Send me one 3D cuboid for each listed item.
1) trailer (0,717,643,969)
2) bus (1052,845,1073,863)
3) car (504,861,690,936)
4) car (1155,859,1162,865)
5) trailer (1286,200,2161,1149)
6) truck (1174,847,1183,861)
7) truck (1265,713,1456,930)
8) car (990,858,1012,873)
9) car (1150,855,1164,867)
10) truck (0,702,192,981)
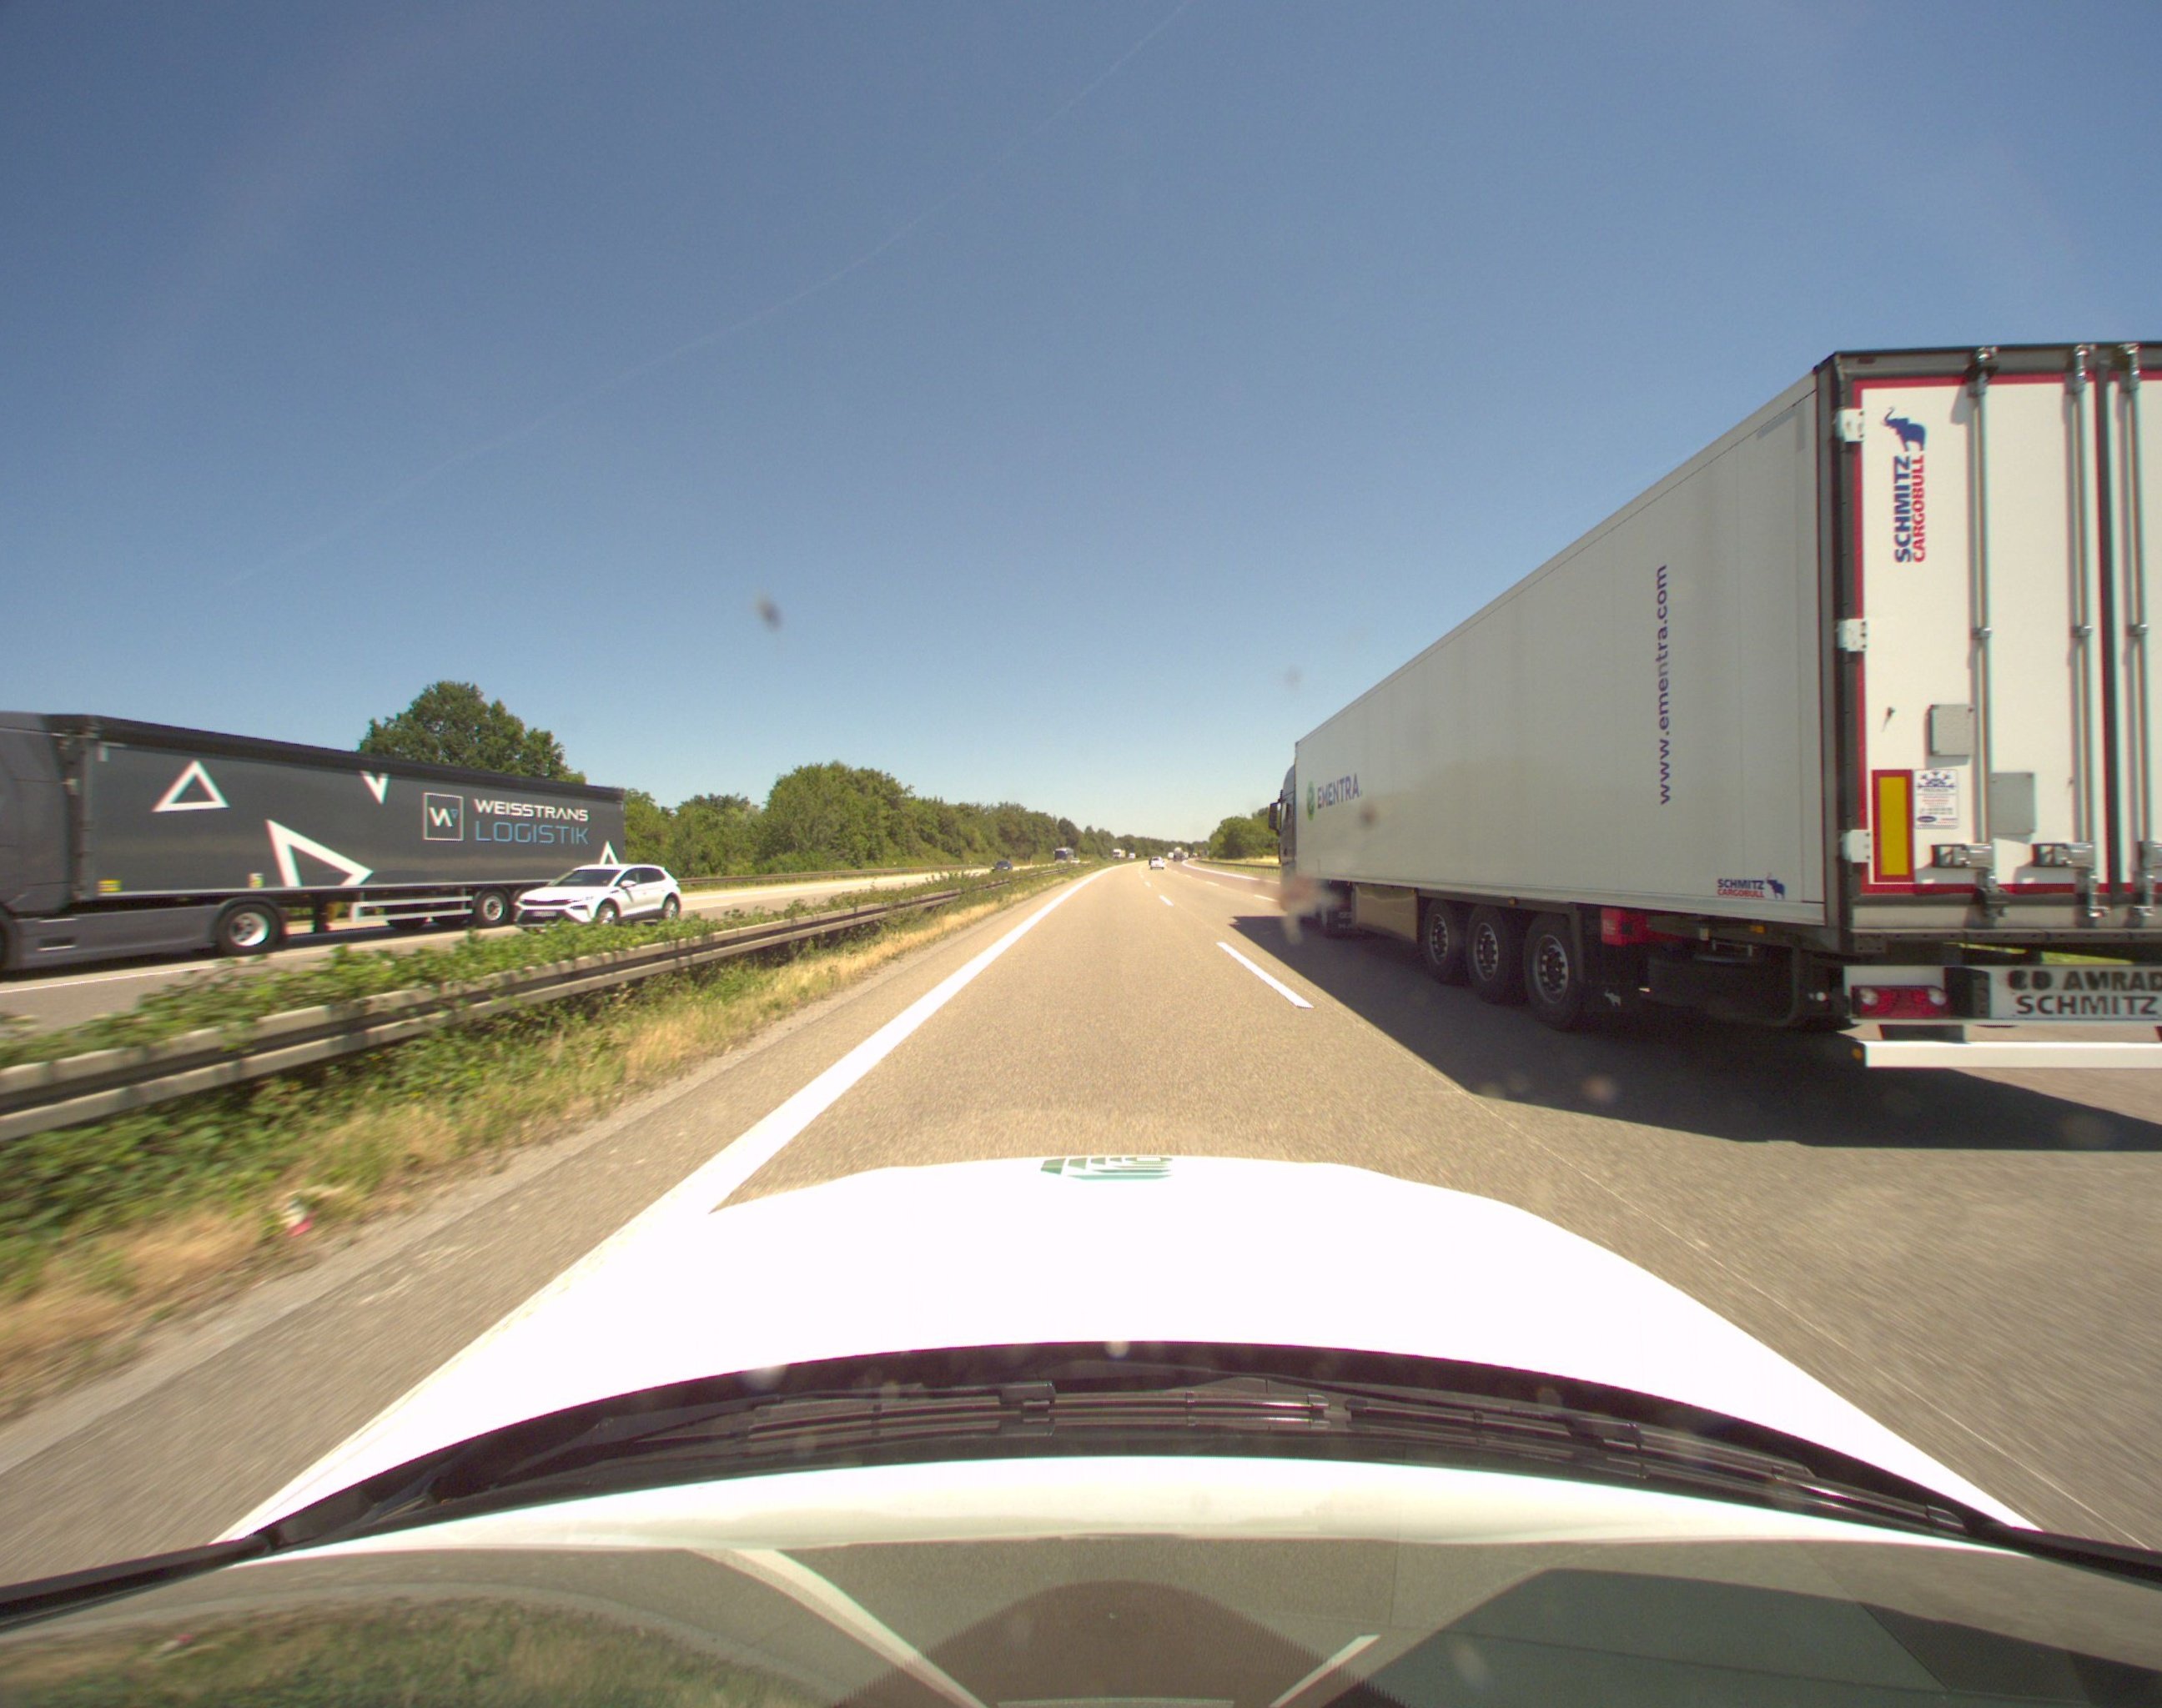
[{"bbox_3d":[-16.237,-0.143,19.947,2.869,3.948,14.064,-1,0,2],"label":"trailer"},{"bbox_3d":[-3.991,0.005,179.877,2.726,3.708,13.028,0,0,8],"label":"bus"},{"bbox_3d":[-11.744,1.002,20.182,1.836,1.586,4.488,-1,0,1],"label":"car"},{"bbox_3d":[19.672,1.912,206.178,1.620,1.479,4.004,-1,-1,4],"label":"car"},{"bbox_3d":[5.548,-0.866,10.980,2.888,4.657,14.000,-1,0,4],"label":"trailer"},{"bbox_3d":[28.300,0.104,236.245,2.725,4.052,10.474,-1,-1,7],"label":"truck"},{"bbox_3d":[6.073,-0.627,18.574,2.895,4.256,4.980,0,0,4],"label":"truck"},{"bbox_3d":[-8.712,1.229,89.239,1.775,1.517,4.504,-1,0,2],"label":"car"},{"bbox_3d":[9.611,0.926,102.986,1.620,1.479,4.005,-1,-1,5],"label":"car"},{"bbox_3d":[-16.565,-0.147,11.790,2.882,3.916,4.002,-1,0,2],"label":"truck"}]
